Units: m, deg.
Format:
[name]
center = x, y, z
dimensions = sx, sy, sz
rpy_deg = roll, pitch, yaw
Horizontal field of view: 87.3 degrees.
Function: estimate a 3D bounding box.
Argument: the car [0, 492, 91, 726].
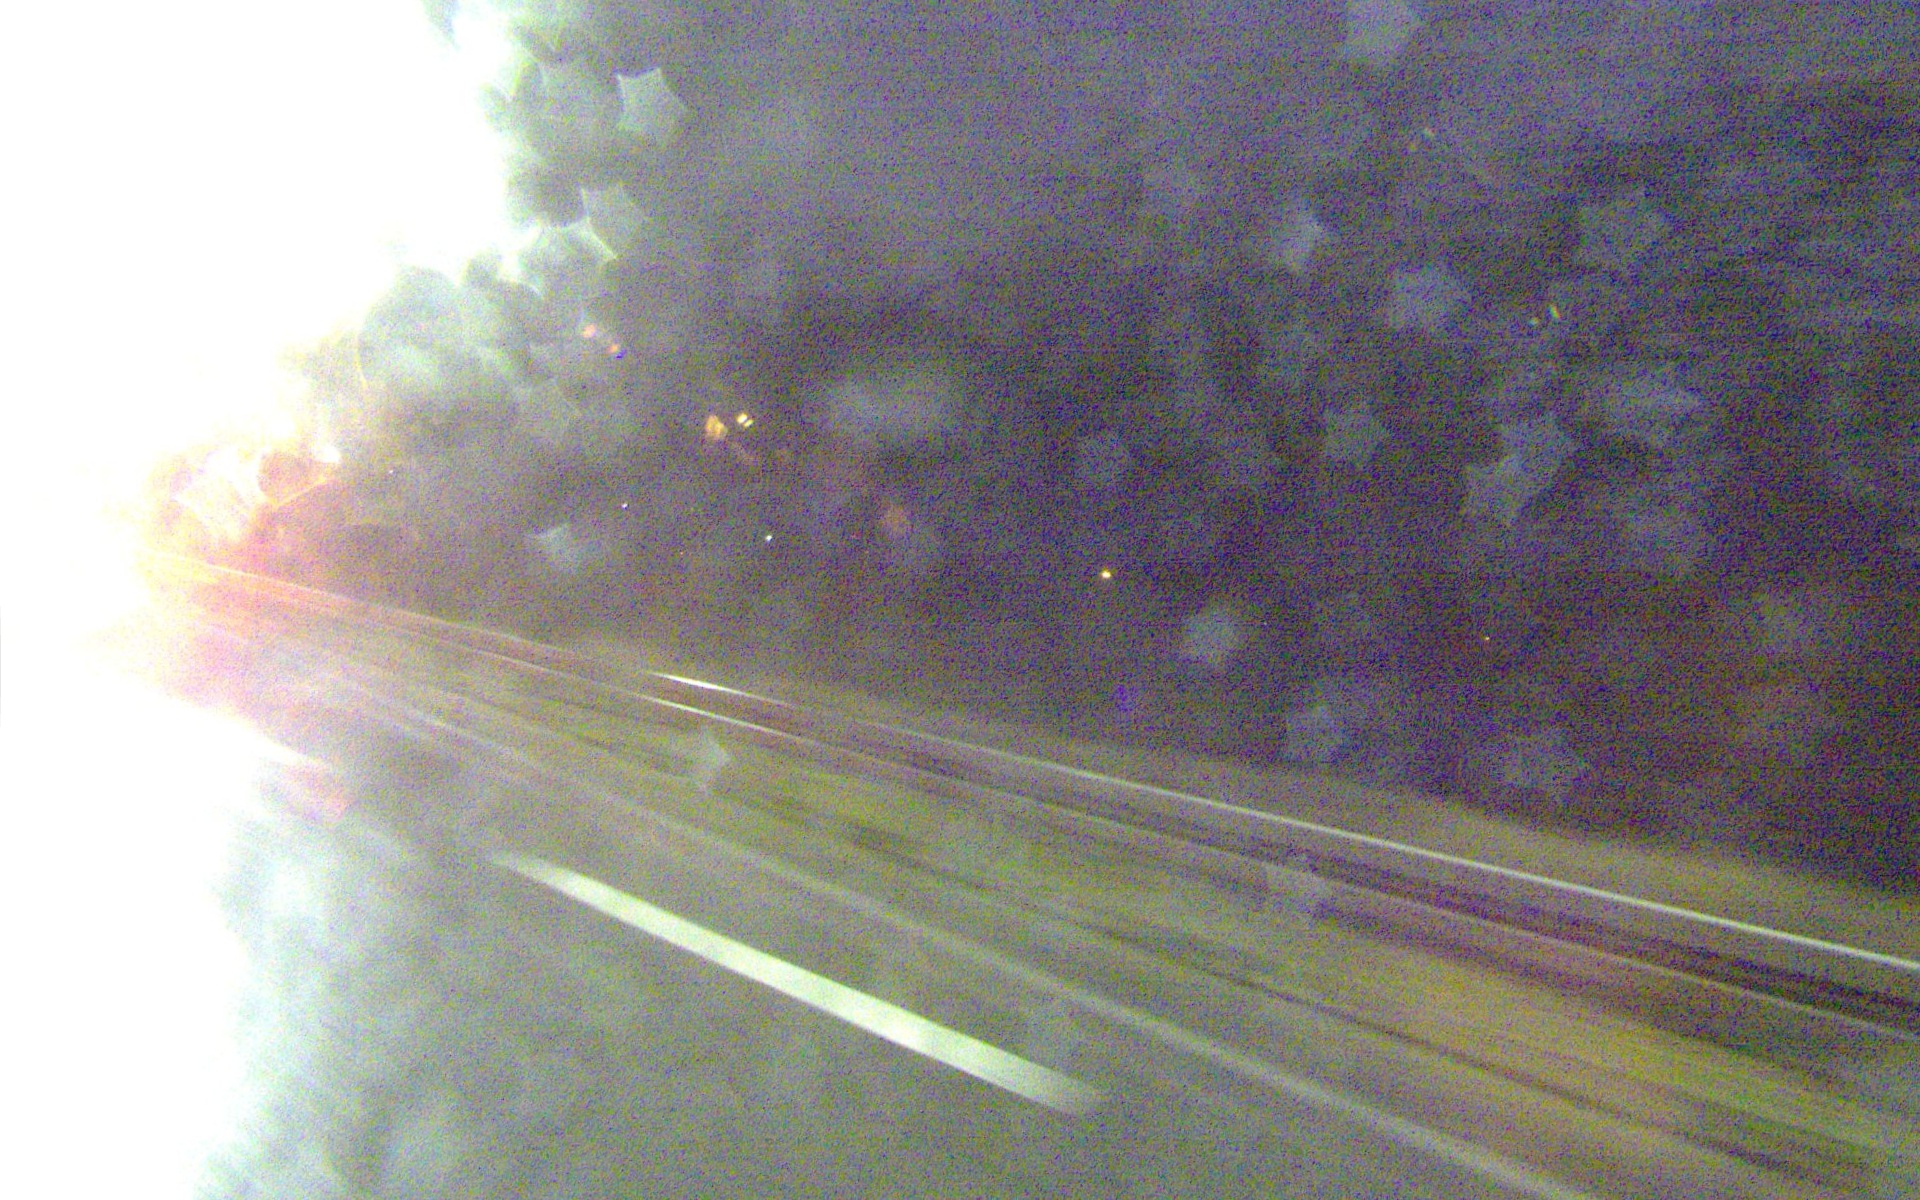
[car]
center = -8.314, -0.187, 7.385
dimensions = 3.939, 1.541, 1.996
rpy_deg = 6, -3, 37
